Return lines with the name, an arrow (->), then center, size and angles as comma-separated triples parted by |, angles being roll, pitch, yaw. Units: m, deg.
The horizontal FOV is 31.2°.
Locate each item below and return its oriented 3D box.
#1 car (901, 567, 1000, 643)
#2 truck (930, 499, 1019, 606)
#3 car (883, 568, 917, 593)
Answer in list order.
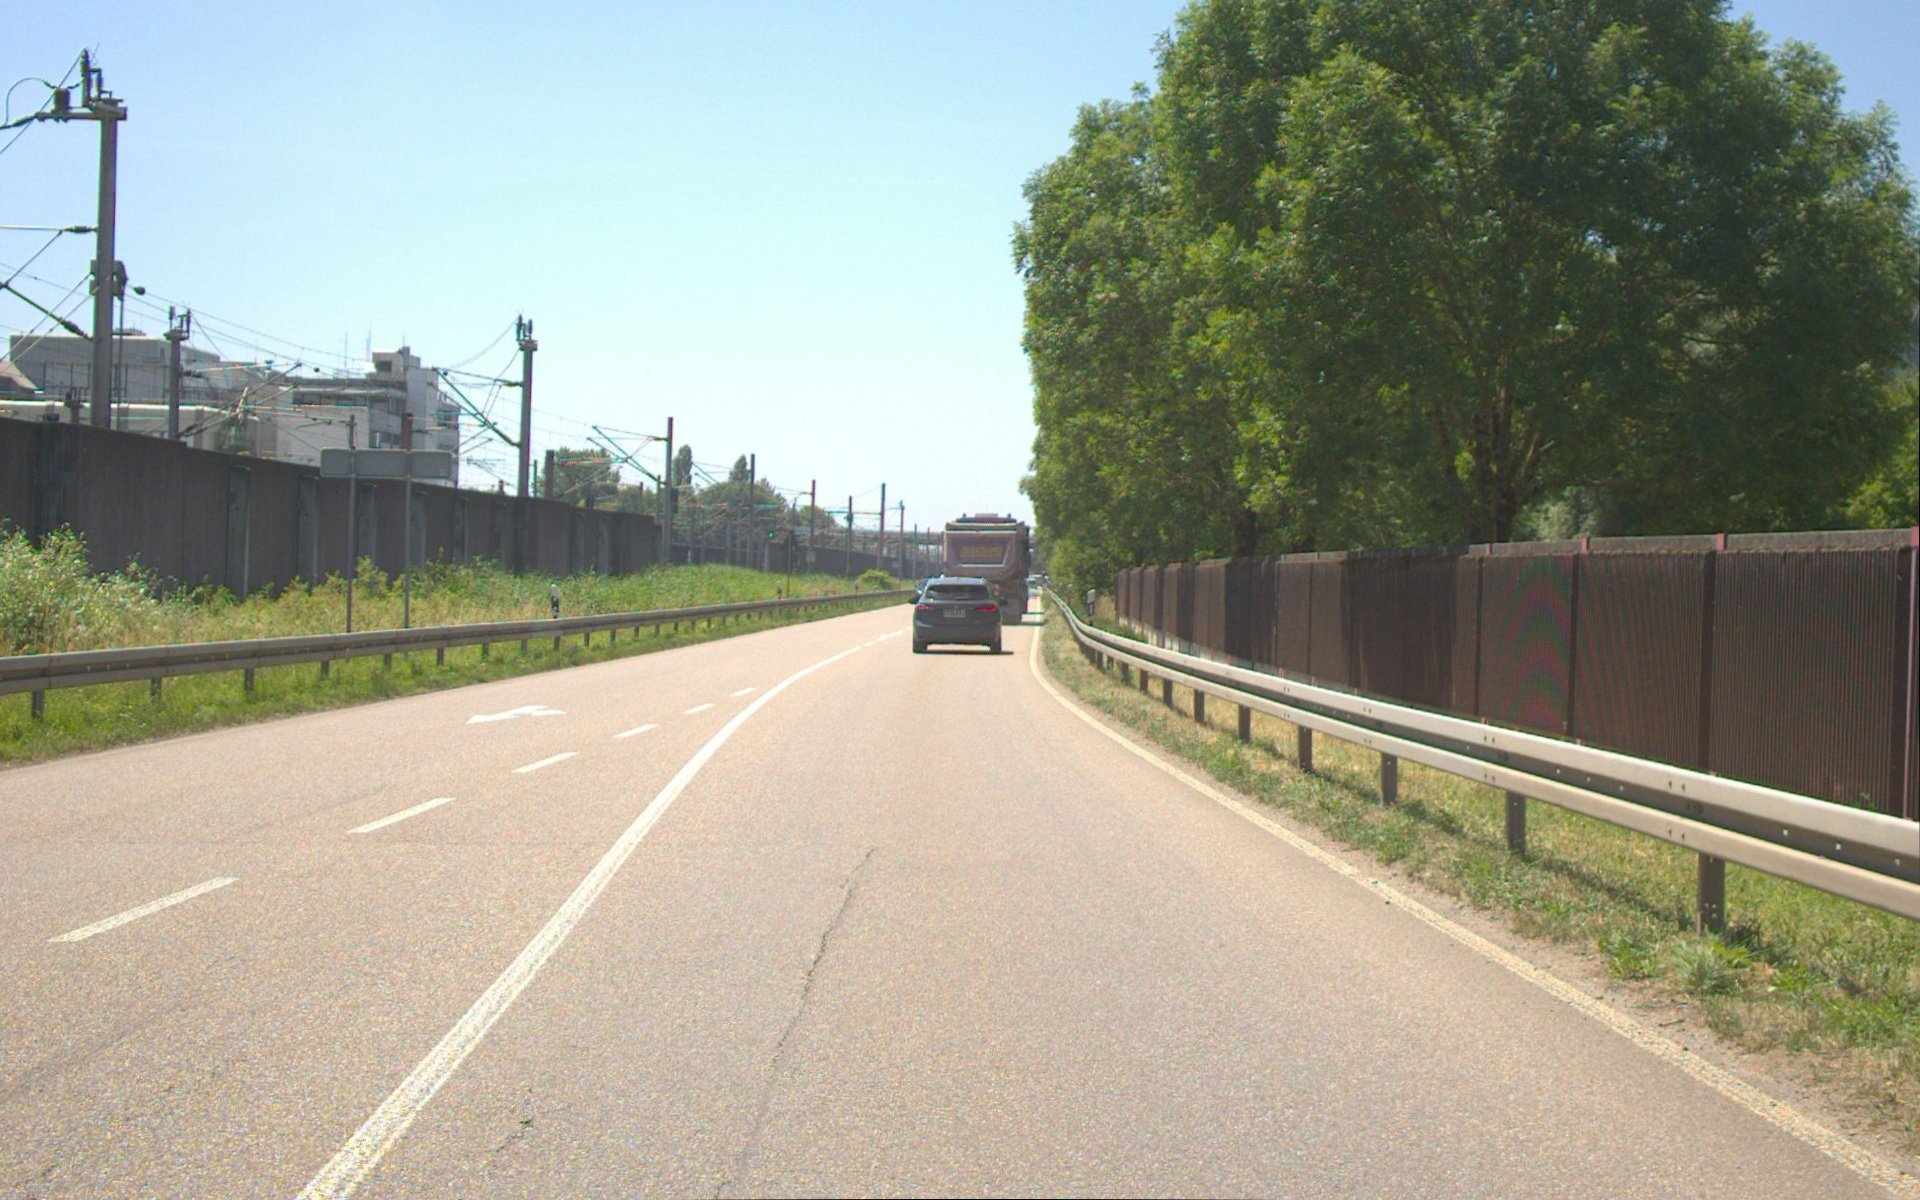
car -> -0.228, 0.082, 71.350 | 1.993, 1.503, 4.000 | 0, 1, -1
truck -> 0.566, -1.558, 116.142 | 2.770, 3.414, 10.819 | 1, 0, 1
car -> -3.719, -1.216, 213.327 | 1.993, 1.503, 4.000 | 0, 1, 1
